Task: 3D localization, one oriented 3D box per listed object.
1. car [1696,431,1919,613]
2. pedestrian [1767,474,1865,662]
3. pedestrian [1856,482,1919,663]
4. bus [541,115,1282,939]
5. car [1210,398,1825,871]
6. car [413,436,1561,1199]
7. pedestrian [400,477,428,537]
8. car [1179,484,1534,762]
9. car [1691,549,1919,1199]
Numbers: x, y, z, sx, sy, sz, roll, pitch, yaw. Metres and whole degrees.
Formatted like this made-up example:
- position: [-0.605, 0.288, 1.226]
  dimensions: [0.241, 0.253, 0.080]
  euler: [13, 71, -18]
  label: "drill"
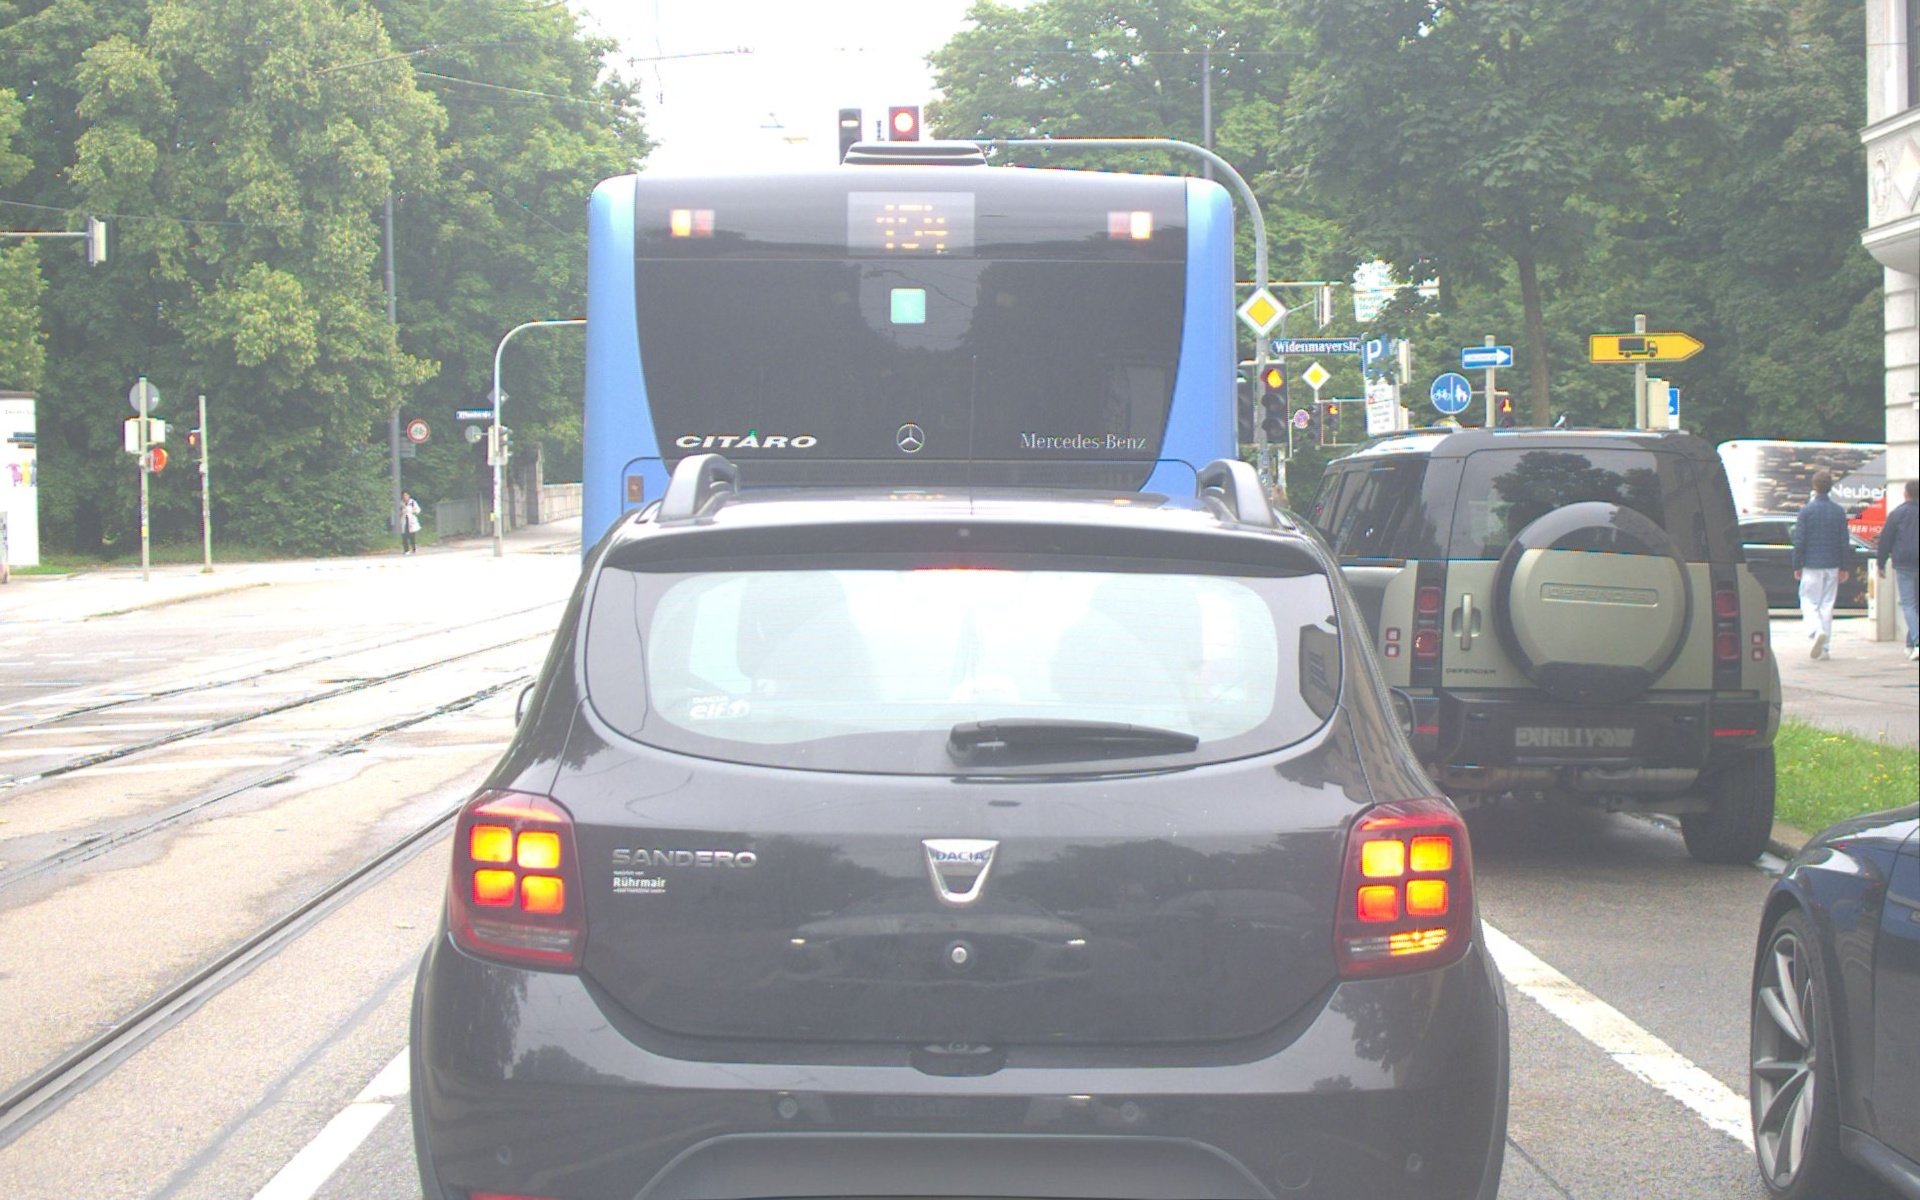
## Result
- position: [13.947, -1.136, 51.425]
  dimensions: [5.295, 2.603, 2.231]
  euler: [1, 1, -3]
  label: "car"
- position: [8.435, -0.320, 33.902]
  dimensions: [0.705, 1.810, 0.870]
  euler: [1, 1, -1]
  label: "pedestrian"
- position: [9.188, -0.266, 33.397]
  dimensions: [0.705, 1.726, 0.843]
  euler: [1, 1, -1]
  label: "pedestrian"
- position: [-0.320, -0.326, 16.179]
  dimensions: [2.678, 2.987, 6.962]
  euler: [1, 1, -2]
  label: "bus"
- position: [2.460, 0.102, 16.473]
  dimensions: [1.914, 1.899, 4.809]
  euler: [1, 1, -3]
  label: "car"
- position: [-0.001, 0.529, 6.623]
  dimensions: [1.600, 1.551, 3.525]
  euler: [1, 1, -1]
  label: "car"
- position: [-13.645, -2.325, 85.942]
  dimensions: [0.532, 1.496, 0.588]
  euler: [1, 1, 4]
  label: "pedestrian"
- position: [2.449, 0.094, 22.199]
  dimensions: [1.714, 1.586, 4.327]
  euler: [1, 1, -1]
  label: "car"
- position: [2.646, 0.649, 5.835]
  dimensions: [1.716, 1.421, 4.603]
  euler: [1, 1, -1]
  label: "car"
